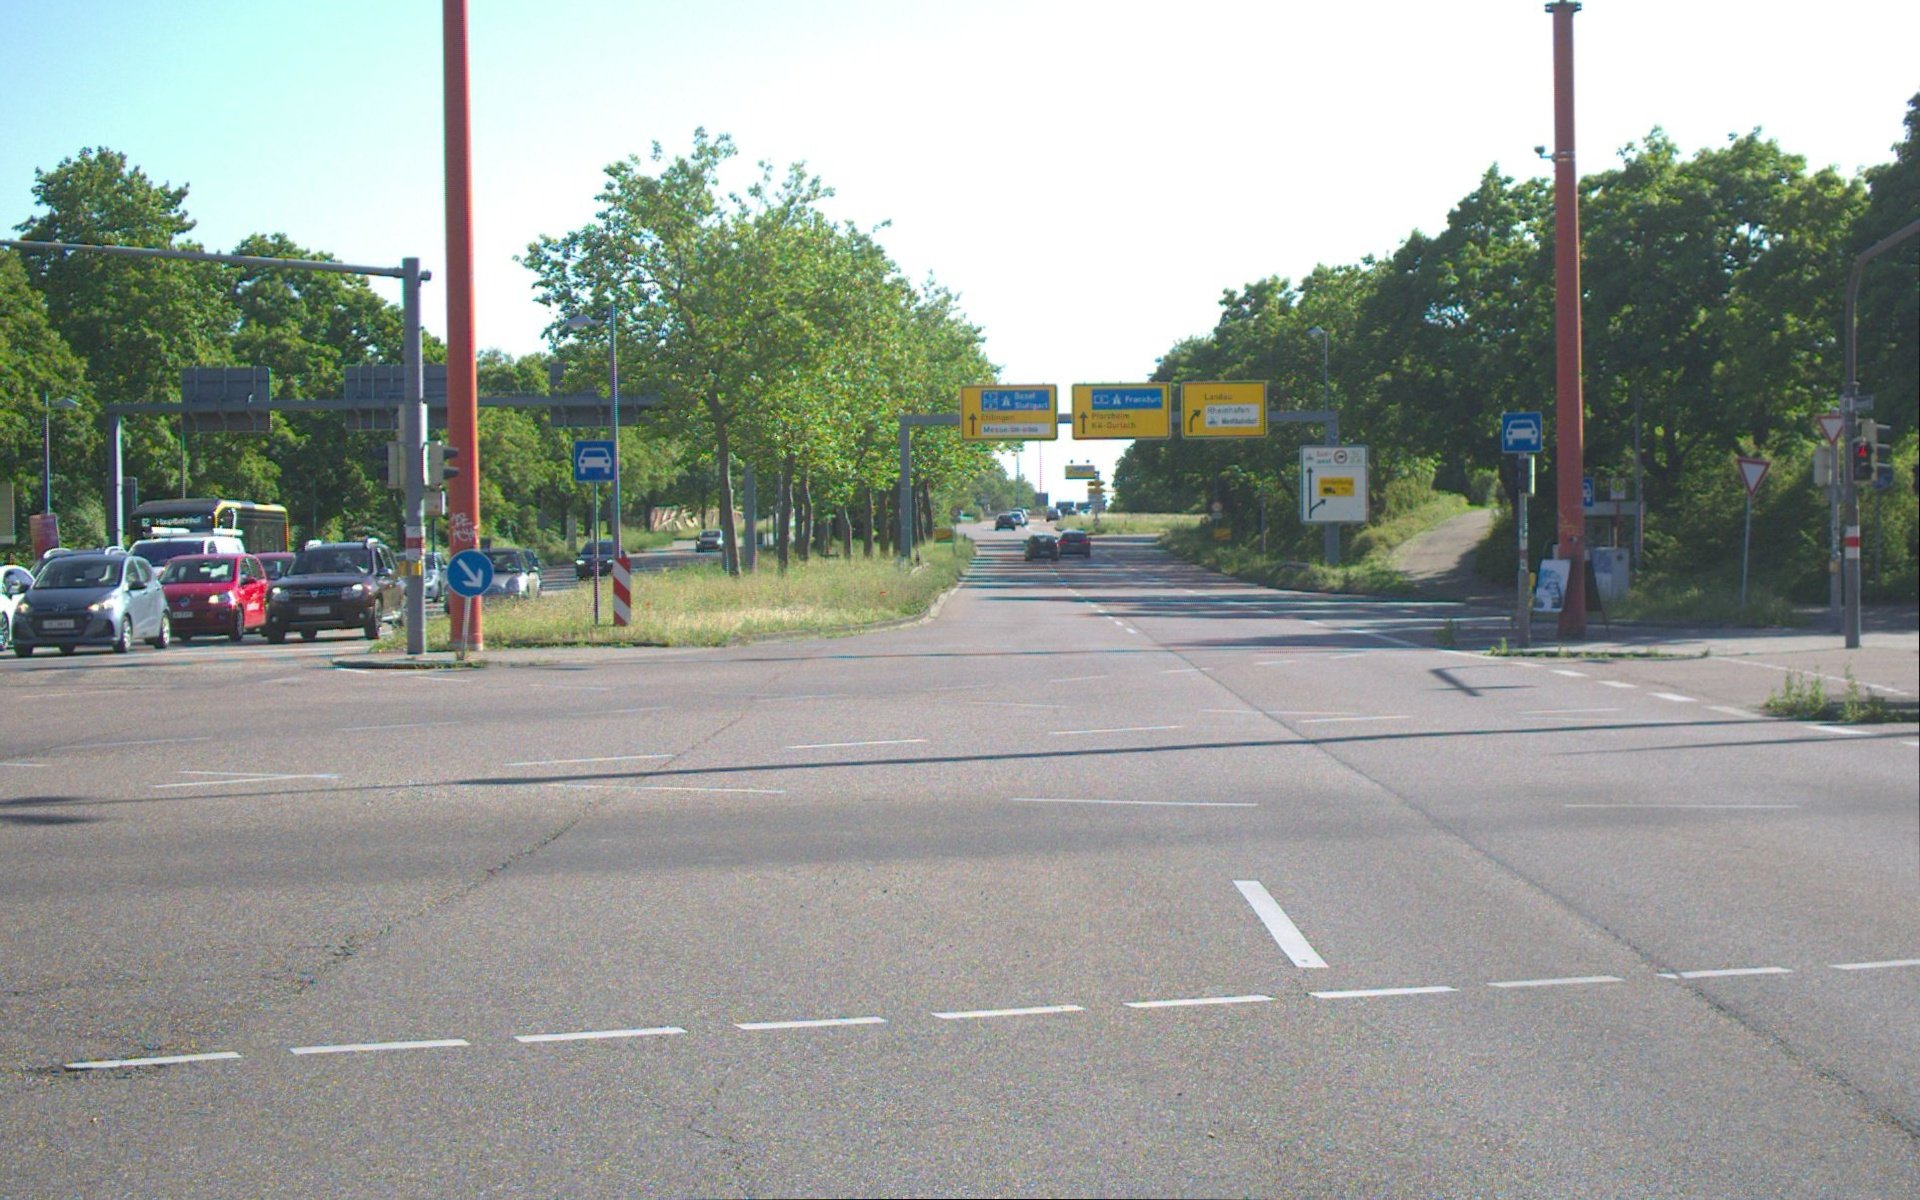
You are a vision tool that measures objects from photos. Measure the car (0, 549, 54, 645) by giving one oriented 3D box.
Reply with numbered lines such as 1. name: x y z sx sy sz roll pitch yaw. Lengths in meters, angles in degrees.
1. car: -16.528 -0.052 57.287 1.901 1.549 4.000 -2 1 -2

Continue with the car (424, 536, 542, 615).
1. car: -9.844 -0.523 71.255 1.885 1.538 4.000 -2 1 -1

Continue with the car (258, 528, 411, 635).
1. car: -10.208 -0.329 56.371 1.793 1.620 4.144 -2 1 -1

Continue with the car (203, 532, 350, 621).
1. car: -12.801 -0.455 64.630 1.901 1.624 4.000 0 1 1

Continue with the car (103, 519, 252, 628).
1. car: -16.062 -0.569 70.834 1.961 2.147 5.082 -1 1 -1

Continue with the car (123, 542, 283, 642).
1. car: -12.862 -0.160 58.634 1.875 1.547 4.000 -4 1 -2

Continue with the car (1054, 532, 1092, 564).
1. car: 6.357 -2.916 193.726 1.993 1.727 4.000 1 1 -1

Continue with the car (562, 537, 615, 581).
1. car: -15.665 -1.739 145.196 1.837 1.831 3.961 -1 1 -1

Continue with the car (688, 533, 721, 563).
1. car: -16.992 -3.453 228.751 1.920 1.992 4.604 -1 1 -1

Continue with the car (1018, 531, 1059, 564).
1. car: 4.157 -2.787 182.418 1.993 1.727 4.000 1 1 -1

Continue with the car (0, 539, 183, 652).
1. car: -13.214 -0.100 52.296 1.874 1.545 4.028 -2 1 -1

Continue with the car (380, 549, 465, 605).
1. car: -15.773 -0.696 101.043 1.885 1.538 4.000 -2 1 -1
